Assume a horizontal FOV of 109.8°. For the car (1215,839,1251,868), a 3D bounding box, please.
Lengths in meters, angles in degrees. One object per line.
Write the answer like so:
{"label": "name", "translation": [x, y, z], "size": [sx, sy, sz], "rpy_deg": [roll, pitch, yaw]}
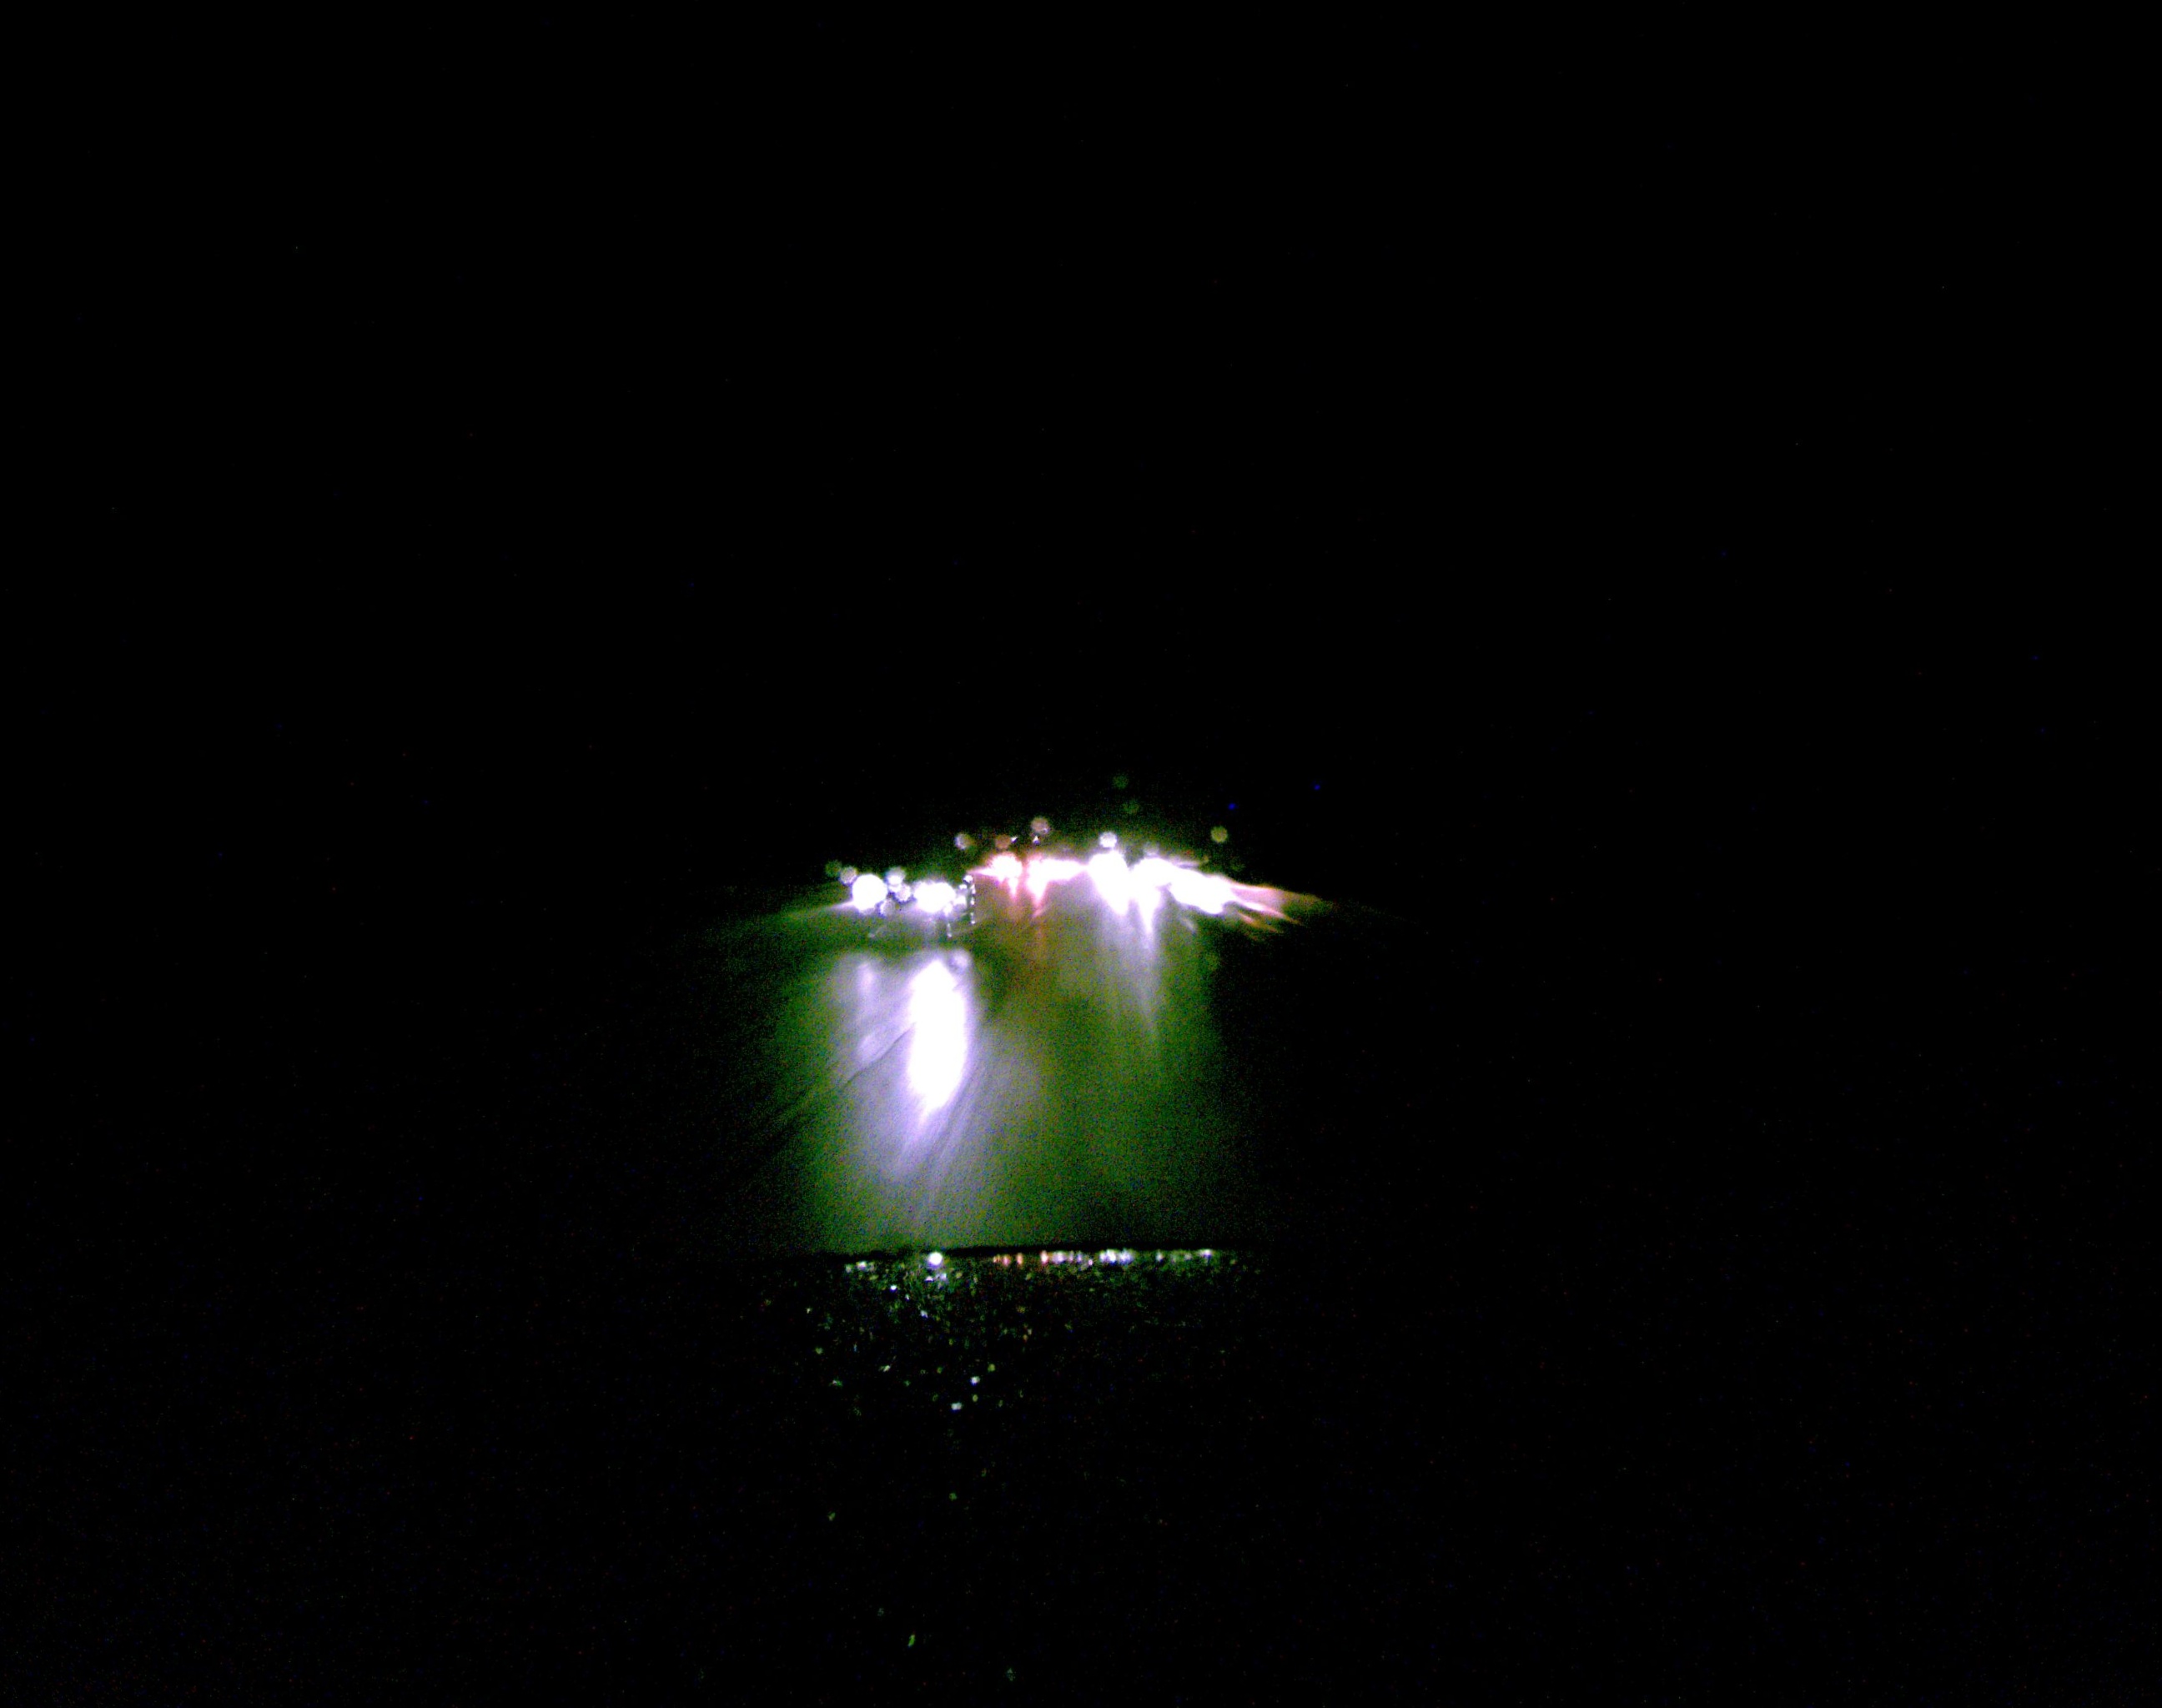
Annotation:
{"label": "car", "translation": [11.699, -0.044, 58.723], "size": [1.998, 2.002, 4.001], "rpy_deg": [-4, 0, 3]}

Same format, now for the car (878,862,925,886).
{"label": "car", "translation": [-13.024, 1.432, 55.395], "size": [1.997, 1.541, 4.002], "rpy_deg": [-4, 0, 7]}

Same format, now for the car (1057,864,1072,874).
{"label": "car", "translation": [-2.868, 2.621, 134.665], "size": [1.998, 1.614, 4.628], "rpy_deg": [-4, 0, 5]}

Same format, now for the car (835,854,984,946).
{"label": "car", "translation": [-3.437, 0.884, 15.981], "size": [1.847, 1.614, 3.681], "rpy_deg": [-3, -1, 6]}

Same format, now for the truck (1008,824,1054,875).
{"label": "truck", "translation": [-4.139, -0.395, 64.237], "size": [2.781, 3.946, 5.200], "rpy_deg": [-4, 0, 5]}

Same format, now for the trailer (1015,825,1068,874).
{"label": "trailer", "translation": [-3.492, -0.375, 71.194], "size": [2.745, 3.955, 13.825], "rpy_deg": [-4, 0, 5]}

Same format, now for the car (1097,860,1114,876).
{"label": "car", "translation": [3.491, 1.913, 106.539], "size": [1.998, 2.002, 4.002], "rpy_deg": [-4, 0, 6]}

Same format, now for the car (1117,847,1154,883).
{"label": "car", "translation": [3.381, 0.681, 46.619], "size": [1.997, 2.001, 4.003], "rpy_deg": [-3, -1, 7]}

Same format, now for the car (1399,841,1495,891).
{"label": "car", "translation": [14.575, 0.450, 30.544], "size": [1.998, 1.725, 4.001], "rpy_deg": [-4, 0, 3]}

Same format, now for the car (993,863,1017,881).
{"label": "car", "translation": [-9.083, 2.148, 90.997], "size": [1.998, 2.002, 4.001], "rpy_deg": [-4, 0, 5]}
